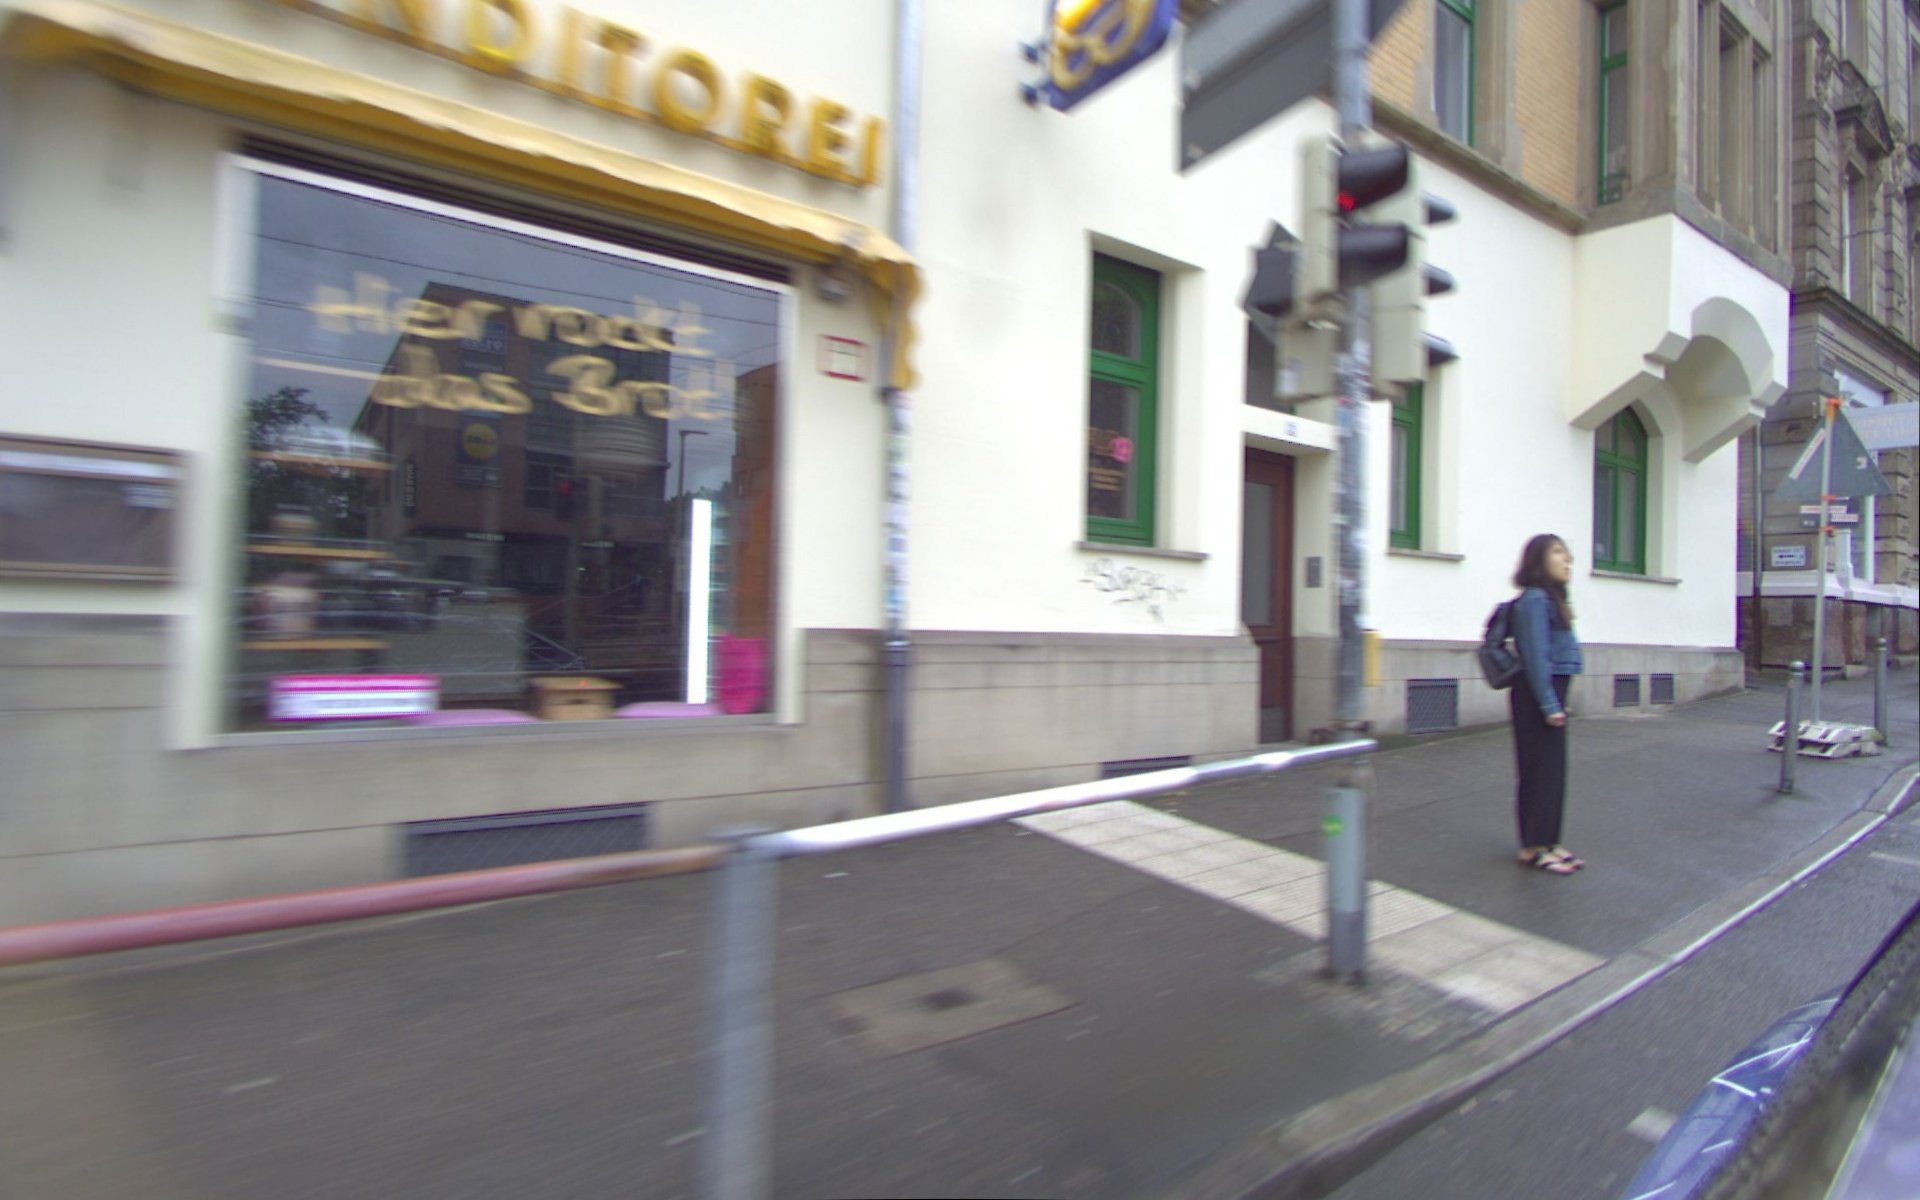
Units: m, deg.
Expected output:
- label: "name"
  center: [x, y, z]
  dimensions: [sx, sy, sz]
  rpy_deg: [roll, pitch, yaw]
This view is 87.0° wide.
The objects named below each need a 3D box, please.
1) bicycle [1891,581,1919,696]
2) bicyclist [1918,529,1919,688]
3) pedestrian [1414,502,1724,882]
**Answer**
- label: "bicycle"
  center: [14.501, 0.518, 14.577]
  dimensions: [3.074, 1.574, 0.937]
  rpy_deg: [0, 0, -34]
- label: "bicyclist"
  center: [14.545, 0.125, 14.511]
  dimensions: [1.263, 2.291, 0.922]
  rpy_deg: [0, 1, -34]
- label: "pedestrian"
  center: [3.158, 0.390, 5.301]
  dimensions: [0.912, 1.741, 1.021]
  rpy_deg: [0, 3, -34]
